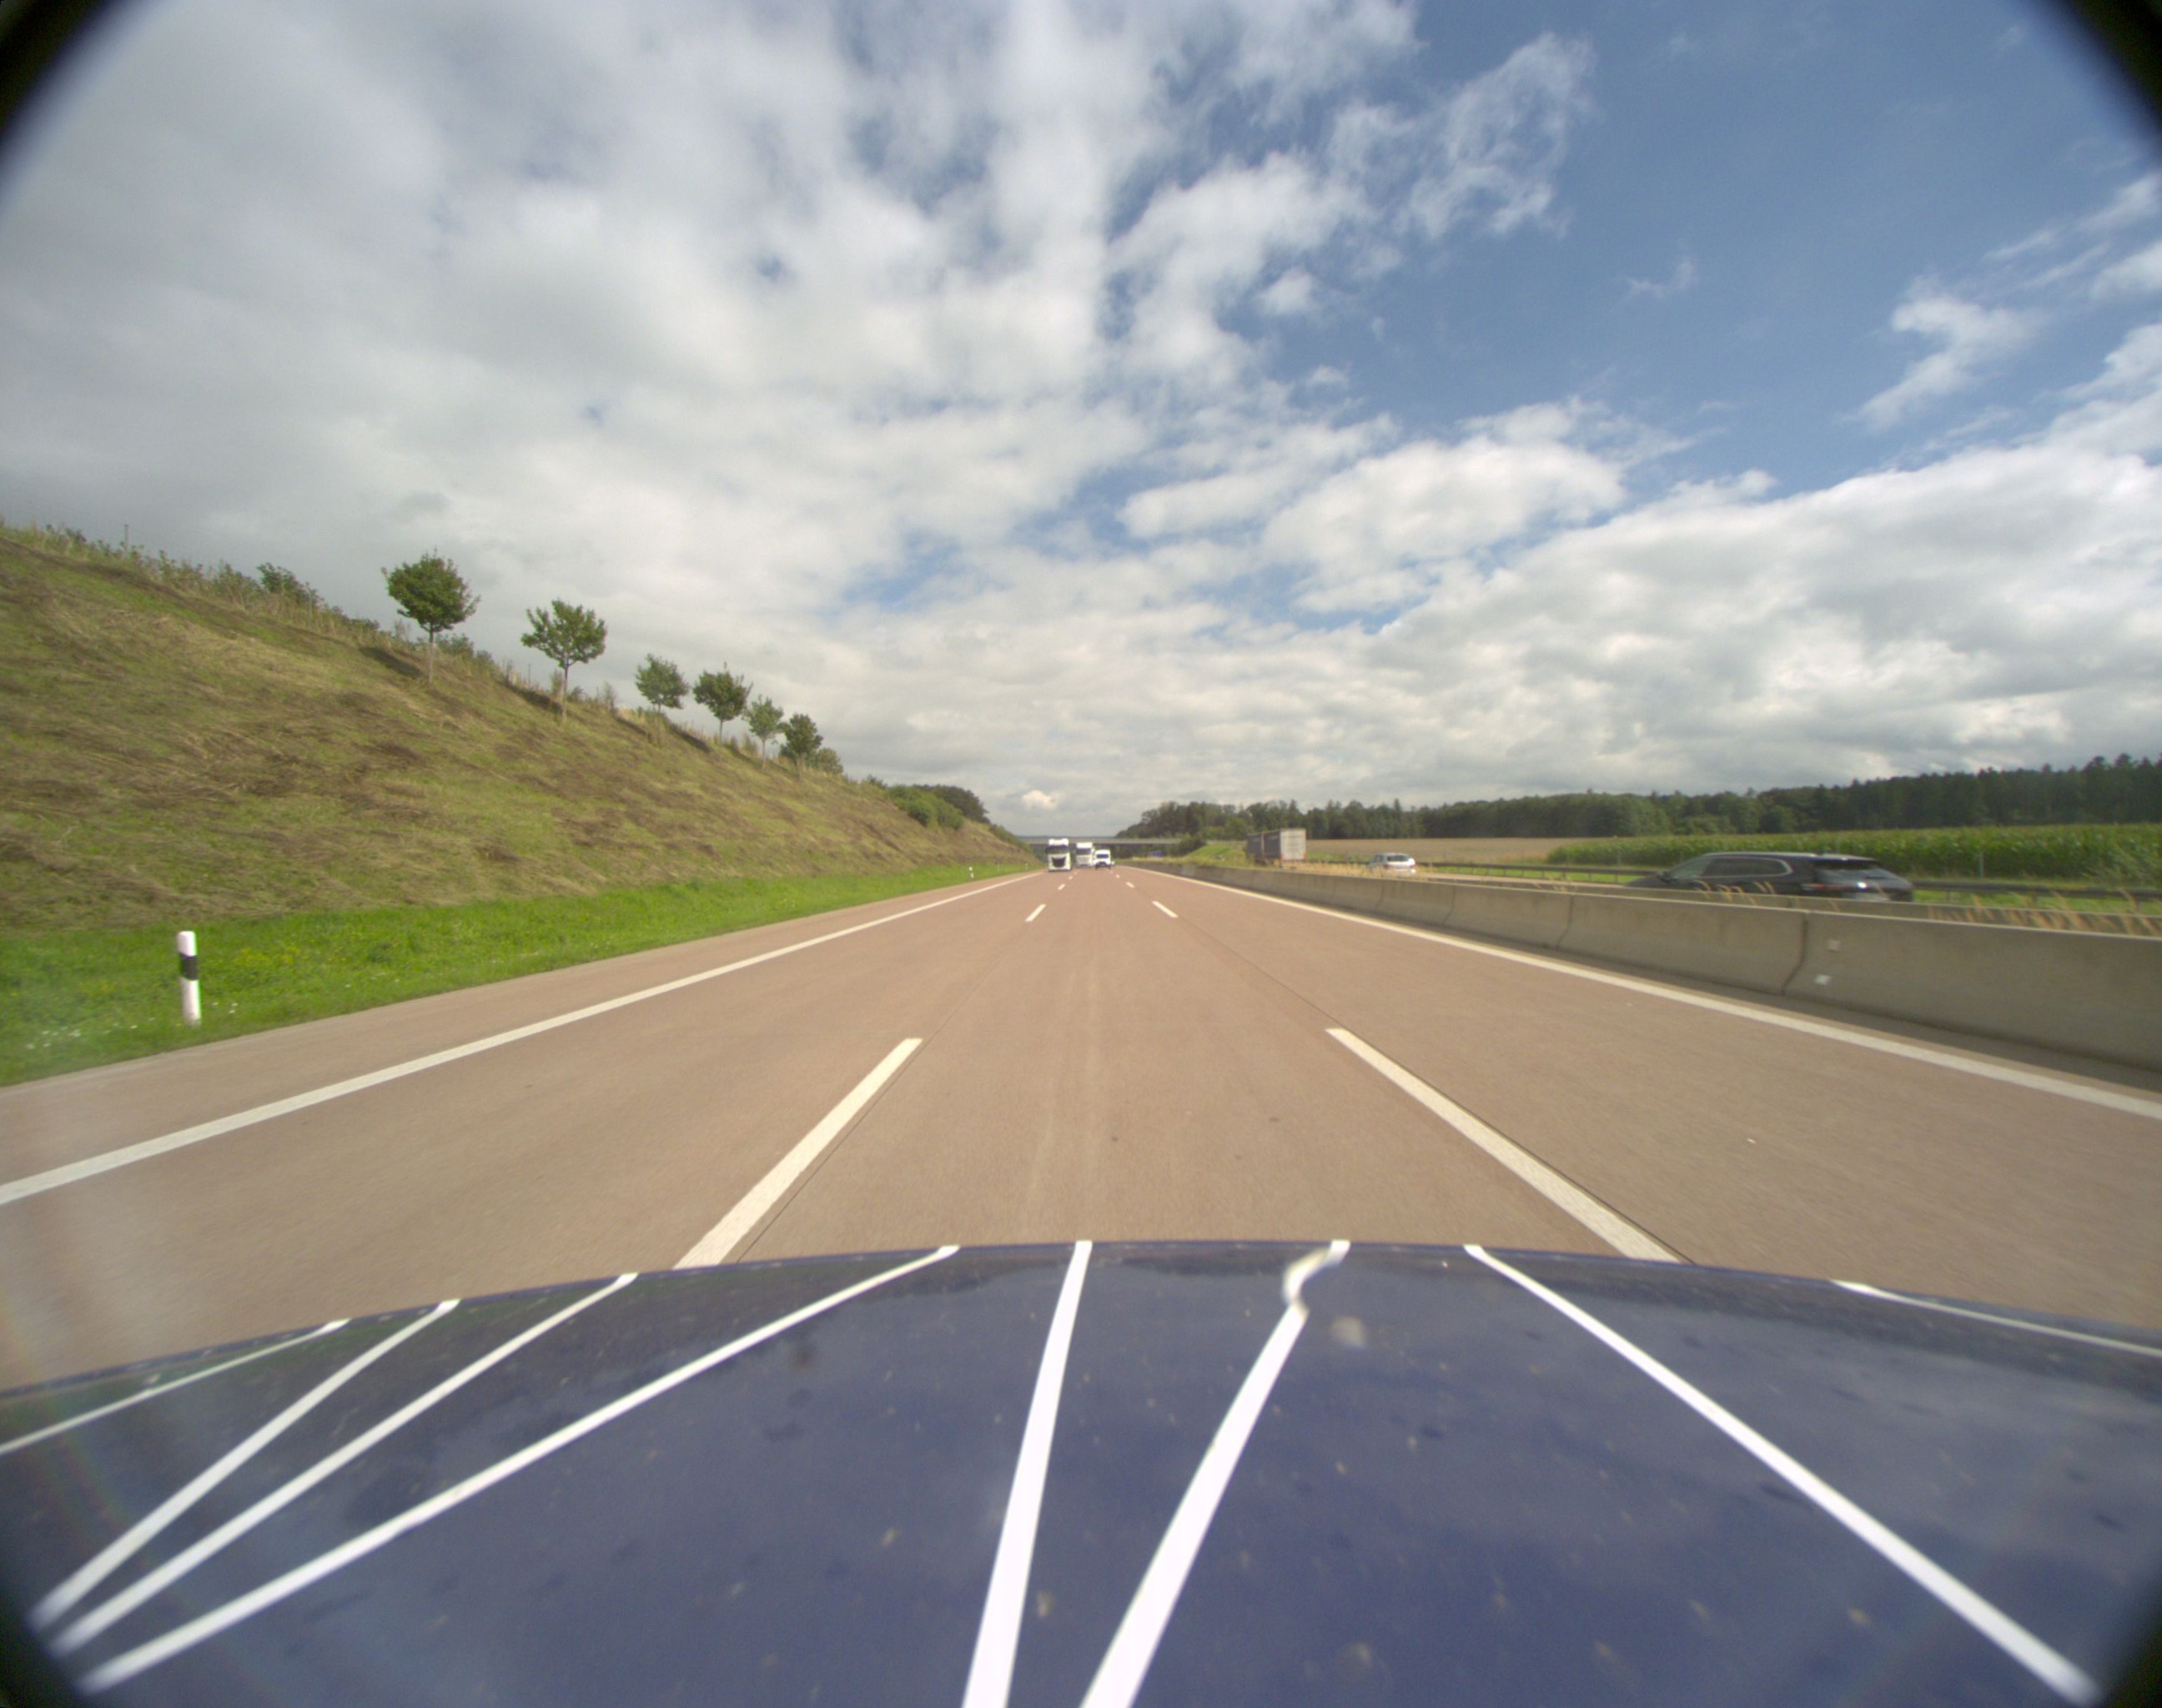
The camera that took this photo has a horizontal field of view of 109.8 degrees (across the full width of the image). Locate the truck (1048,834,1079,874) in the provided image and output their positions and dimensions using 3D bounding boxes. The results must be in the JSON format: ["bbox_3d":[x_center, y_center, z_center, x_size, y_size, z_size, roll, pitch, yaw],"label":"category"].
[{"bbox_3d":[-1.995,-0.063,91.313,3.107,4.334,11.255,-2,1,1],"label":"truck"}]

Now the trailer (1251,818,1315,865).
[{"bbox_3d":[21.425,-1.301,81.800,3.413,4.550,13.870,-1,0,1],"label":"trailer"}]

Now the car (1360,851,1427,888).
[{"bbox_3d":[16.886,0.793,41.252,1.999,1.850,3.999,-1,0,0],"label":"car"}]

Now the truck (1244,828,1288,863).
[{"bbox_3d":[21.597,-0.988,89.232,3.419,3.802,7.465,-1,0,1],"label":"truck"}]

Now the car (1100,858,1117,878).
[{"bbox_3d":[4.720,2.381,131.620,2.773,3.261,6.392,-2,1,2],"label":"car"}]

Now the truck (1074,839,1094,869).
[{"bbox_3d":[0.512,-0.052,123.850,2.927,4.659,11.807,-2,1,1],"label":"truck"}]

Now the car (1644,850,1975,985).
[{"bbox_3d":[12.376,0.947,13.366,1.998,2.002,4.000,-1,0,1],"label":"car"}]

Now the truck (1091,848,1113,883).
[{"bbox_3d":[2.724,1.444,102.659,2.681,4.334,11.807,-2,1,1],"label":"truck"}]
